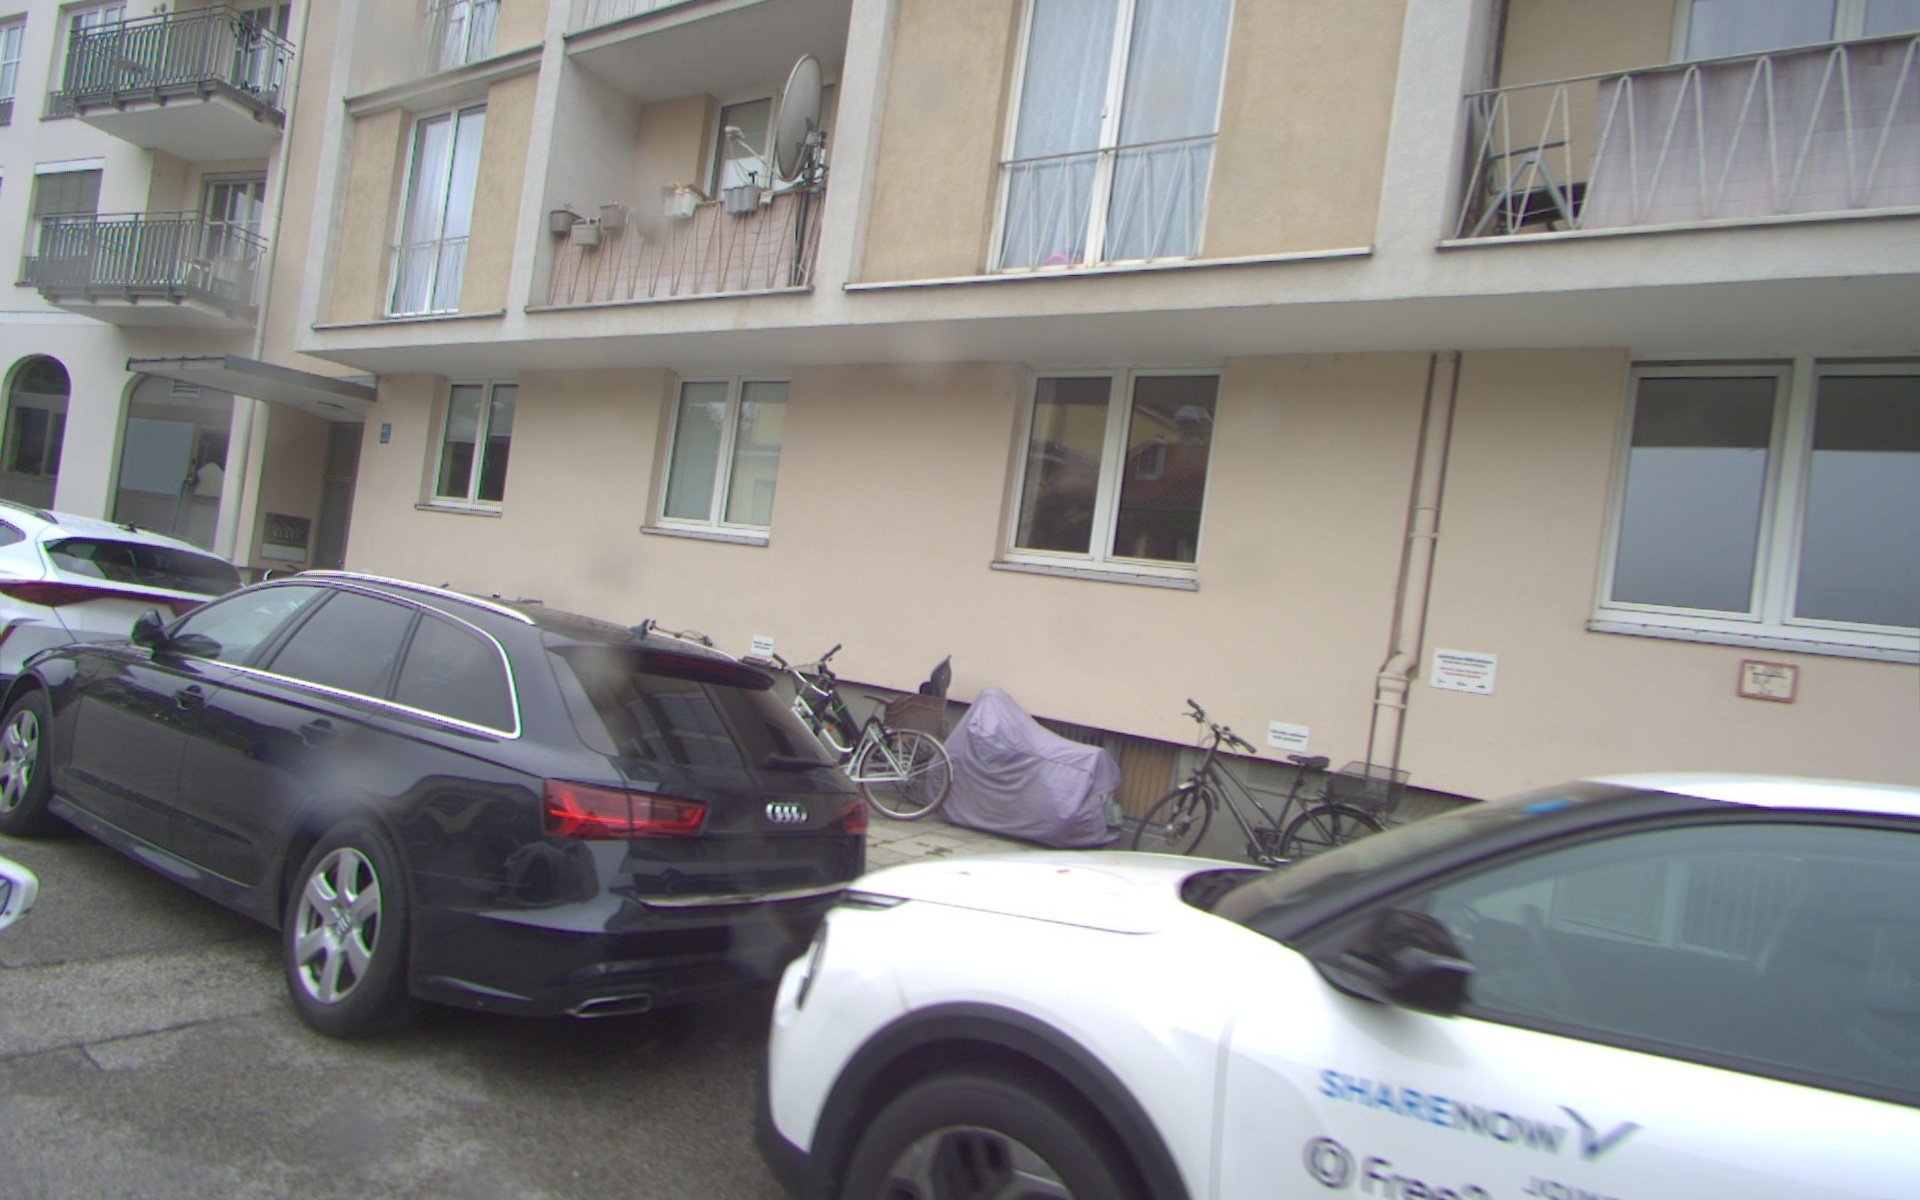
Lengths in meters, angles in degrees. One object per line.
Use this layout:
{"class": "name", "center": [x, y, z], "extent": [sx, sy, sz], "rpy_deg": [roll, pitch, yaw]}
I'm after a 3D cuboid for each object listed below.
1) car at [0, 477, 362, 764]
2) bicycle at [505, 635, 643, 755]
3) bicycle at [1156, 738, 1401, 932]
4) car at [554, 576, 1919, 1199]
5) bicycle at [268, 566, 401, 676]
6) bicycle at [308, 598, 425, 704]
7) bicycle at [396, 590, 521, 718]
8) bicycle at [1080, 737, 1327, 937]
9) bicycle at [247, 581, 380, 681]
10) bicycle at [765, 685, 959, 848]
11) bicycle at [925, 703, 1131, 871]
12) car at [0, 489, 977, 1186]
{"class": "car", "center": [-6.775, -0.010, 7.302], "extent": [4.565, 1.549, 1.793], "rpy_deg": [7, -4, 26]}
{"class": "bicycle", "center": [-3.662, 0.879, 9.514], "extent": [1.369, 0.915, 0.378], "rpy_deg": [7, -1, 32]}
{"class": "bicycle", "center": [2.046, 1.474, 6.534], "extent": [1.369, 0.915, 0.378], "rpy_deg": [7, -1, 32]}
{"class": "car", "center": [1.497, 1.040, 2.027], "extent": [4.501, 1.505, 1.700], "rpy_deg": [7, -3, 29]}
{"class": "bicycle", "center": [-7.806, 0.244, 12.524], "extent": [1.822, 1.123, 0.456], "rpy_deg": [7, -1, 29]}
{"class": "bicycle", "center": [-6.199, 0.519, 10.488], "extent": [1.369, 0.915, 0.378], "rpy_deg": [7, -1, 32]}
{"class": "bicycle", "center": [-5.208, 0.551, 10.426], "extent": [1.369, 1.132, 0.378], "rpy_deg": [7, -1, 32]}
{"class": "bicycle", "center": [1.511, 1.444, 6.355], "extent": [1.369, 0.915, 0.378], "rpy_deg": [7, -1, 32]}
{"class": "bicycle", "center": [-7.570, 0.355, 11.758], "extent": [1.706, 0.934, 0.456], "rpy_deg": [7, -1, 29]}
{"class": "bicycle", "center": [-0.736, 1.176, 7.354], "extent": [1.369, 0.916, 0.378], "rpy_deg": [7, 0, 32]}
{"class": "bicycle", "center": [0.470, 1.314, 7.283], "extent": [1.369, 0.915, 0.378], "rpy_deg": [7, -1, 32]}
{"class": "car", "center": [-2.667, 0.571, 4.662], "extent": [5.077, 1.538, 1.887], "rpy_deg": [7, -5, 31]}
